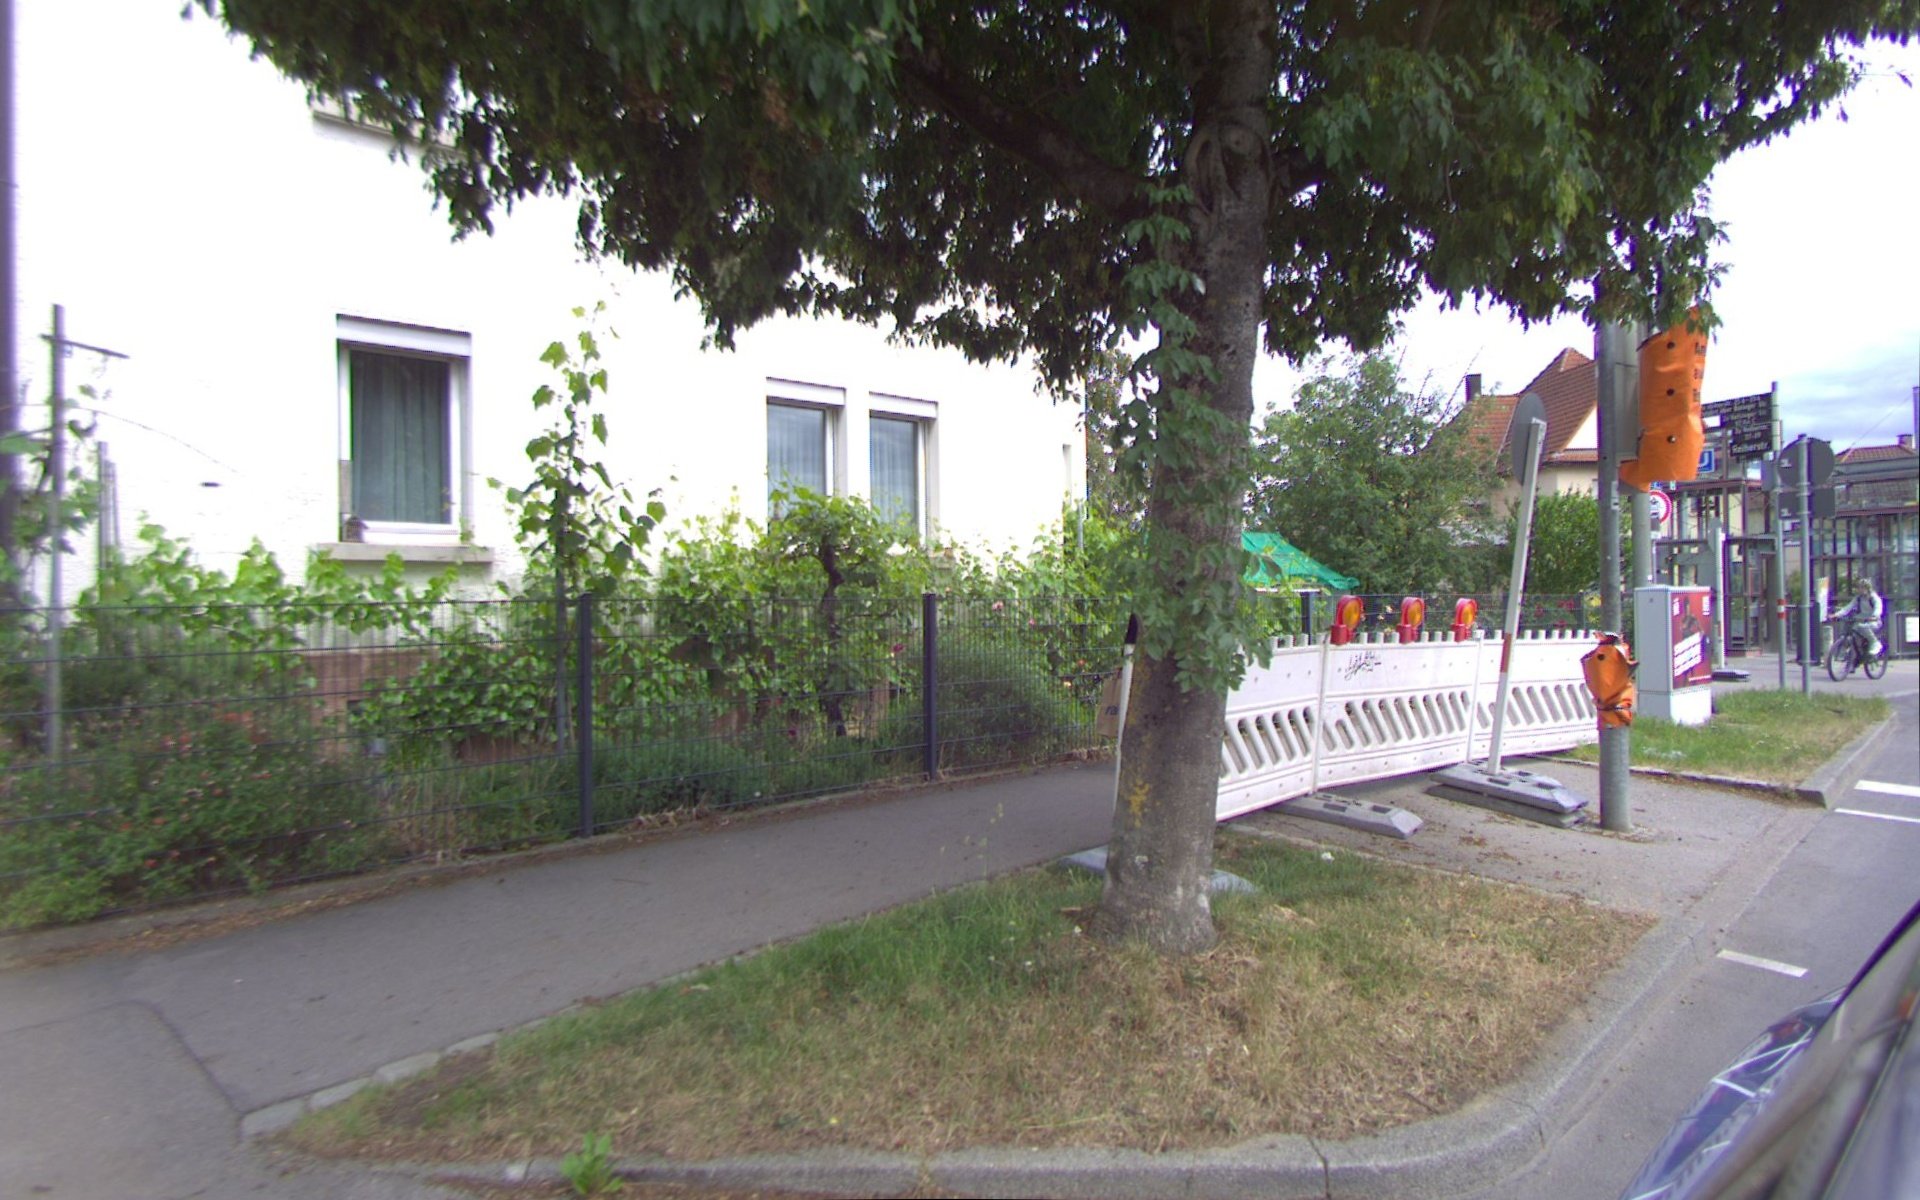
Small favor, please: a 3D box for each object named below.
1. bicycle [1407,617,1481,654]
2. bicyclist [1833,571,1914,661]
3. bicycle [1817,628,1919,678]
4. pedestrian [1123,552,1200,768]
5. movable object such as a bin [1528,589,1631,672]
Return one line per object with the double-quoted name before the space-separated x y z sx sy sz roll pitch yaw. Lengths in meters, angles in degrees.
"bicycle" 13.702 0.997 28.648 2.420 0.993 0.569 0 -1 -28
"bicyclist" 15.000 0.263 16.618 1.155 1.434 0.659 1 -1 -29
"bicycle" 14.942 0.846 16.637 2.020 0.763 0.638 1 -1 -29
"pedestrian" 1.511 0.428 7.651 0.513 1.559 0.635 1 0 8
"movable object such as a bin" 11.470 0.545 18.778 0.983 1.489 1.274 0 -1 -22
